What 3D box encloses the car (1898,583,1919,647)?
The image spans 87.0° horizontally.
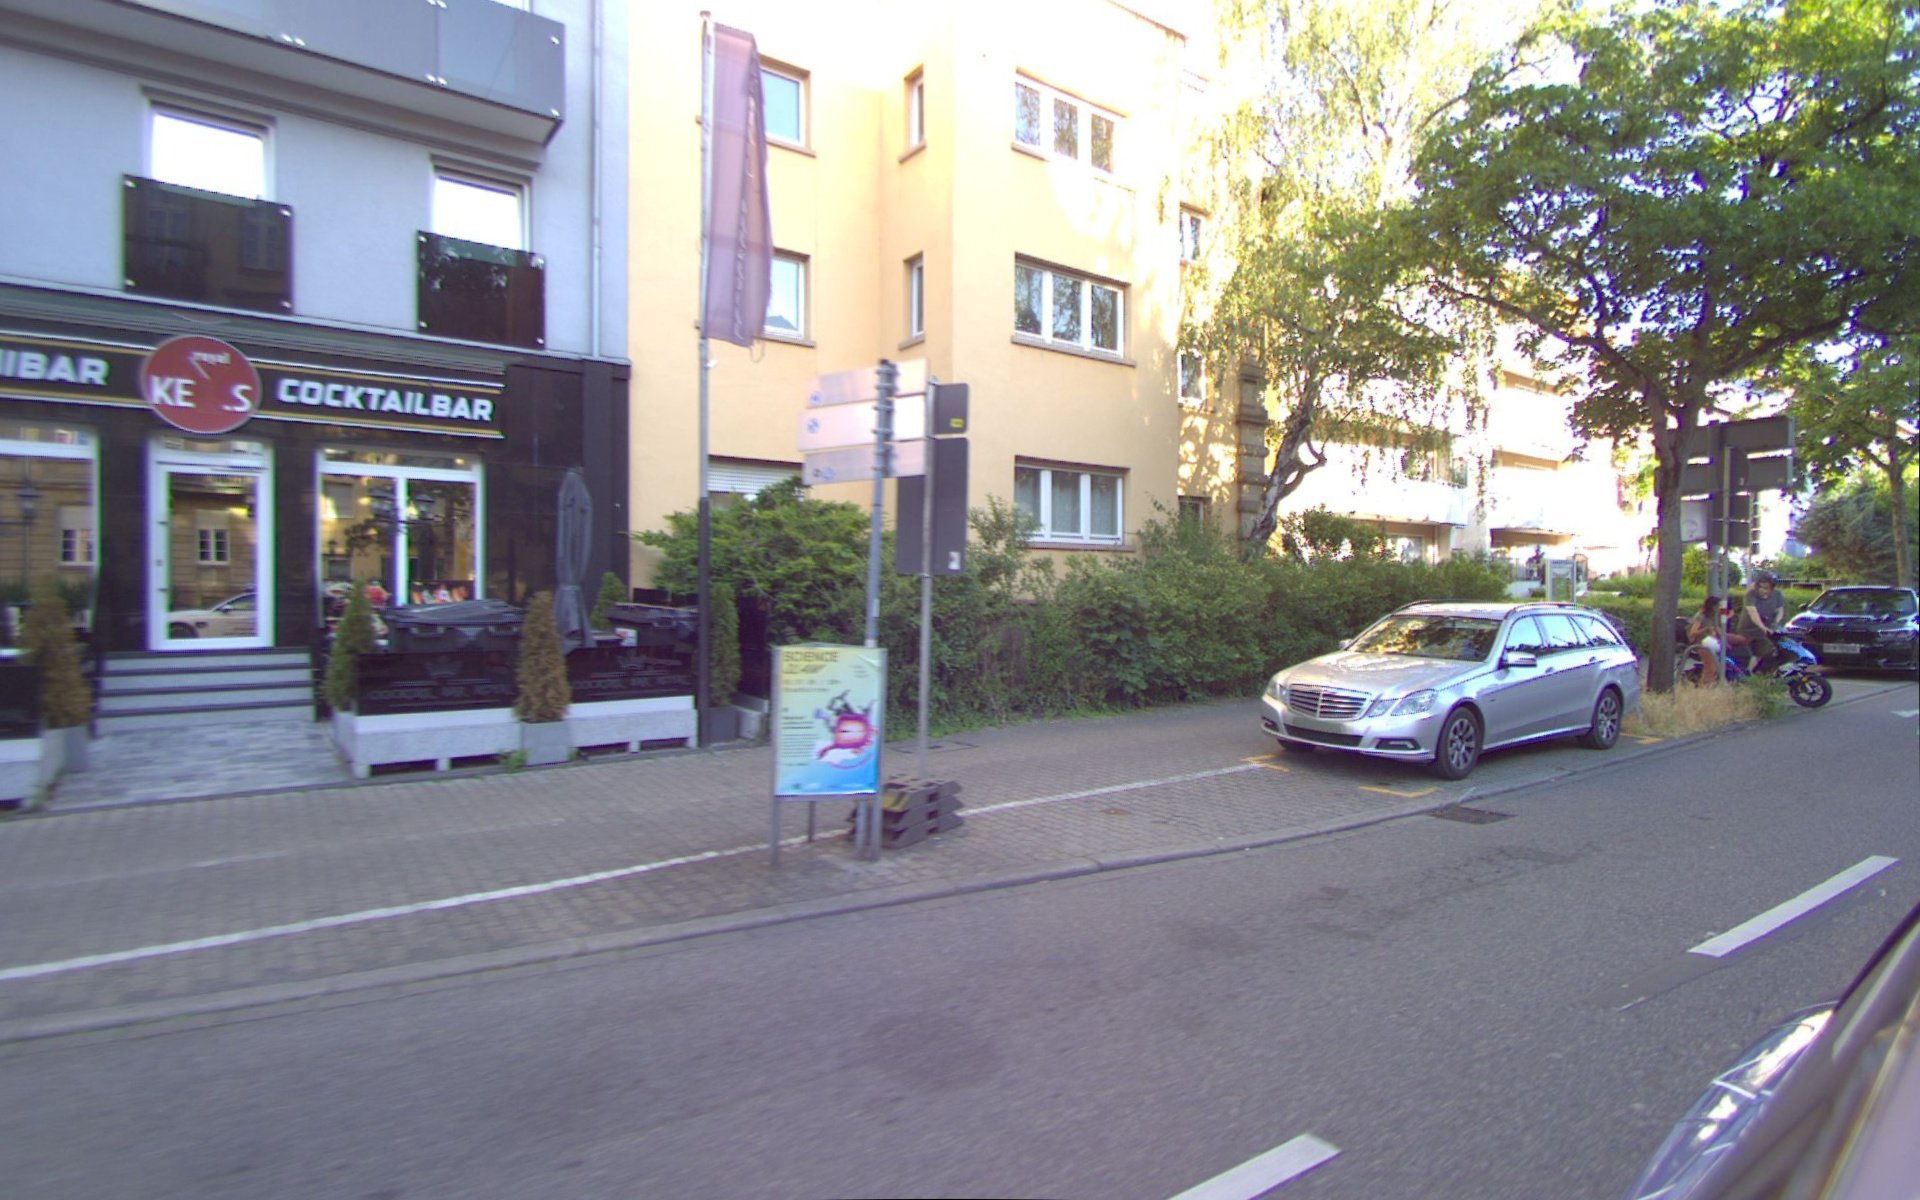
[{"bbox_3d":[24.666,0.349,24.883,4.351,1.490,1.720,-1,1,-39],"label":"car"}]

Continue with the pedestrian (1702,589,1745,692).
[{"bbox_3d":[11.039,0.566,14.622,0.438,1.448,0.693,0,0,42],"label":"pedestrian"}]

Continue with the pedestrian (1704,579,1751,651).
[{"bbox_3d":[17.650,0.330,23.290,0.569,1.636,0.748,0,0,-38],"label":"pedestrian"}]

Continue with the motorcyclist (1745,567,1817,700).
[{"bbox_3d":[11.655,0.443,14.363,0.735,1.800,1.072,0,0,42],"label":"motorcyclist"}]

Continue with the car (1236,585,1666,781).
[{"bbox_3d":[5.124,0.640,10.296,4.743,1.531,1.862,-1,2,-35],"label":"car"}]

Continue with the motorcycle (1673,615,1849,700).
[{"bbox_3d":[11.400,0.779,14.435,1.924,1.084,0.808,0,0,42],"label":"motorcycle"}]

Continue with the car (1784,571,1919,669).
[{"bbox_3d":[17.799,0.312,19.509,4.708,1.676,1.953,-1,1,-38],"label":"car"}]
